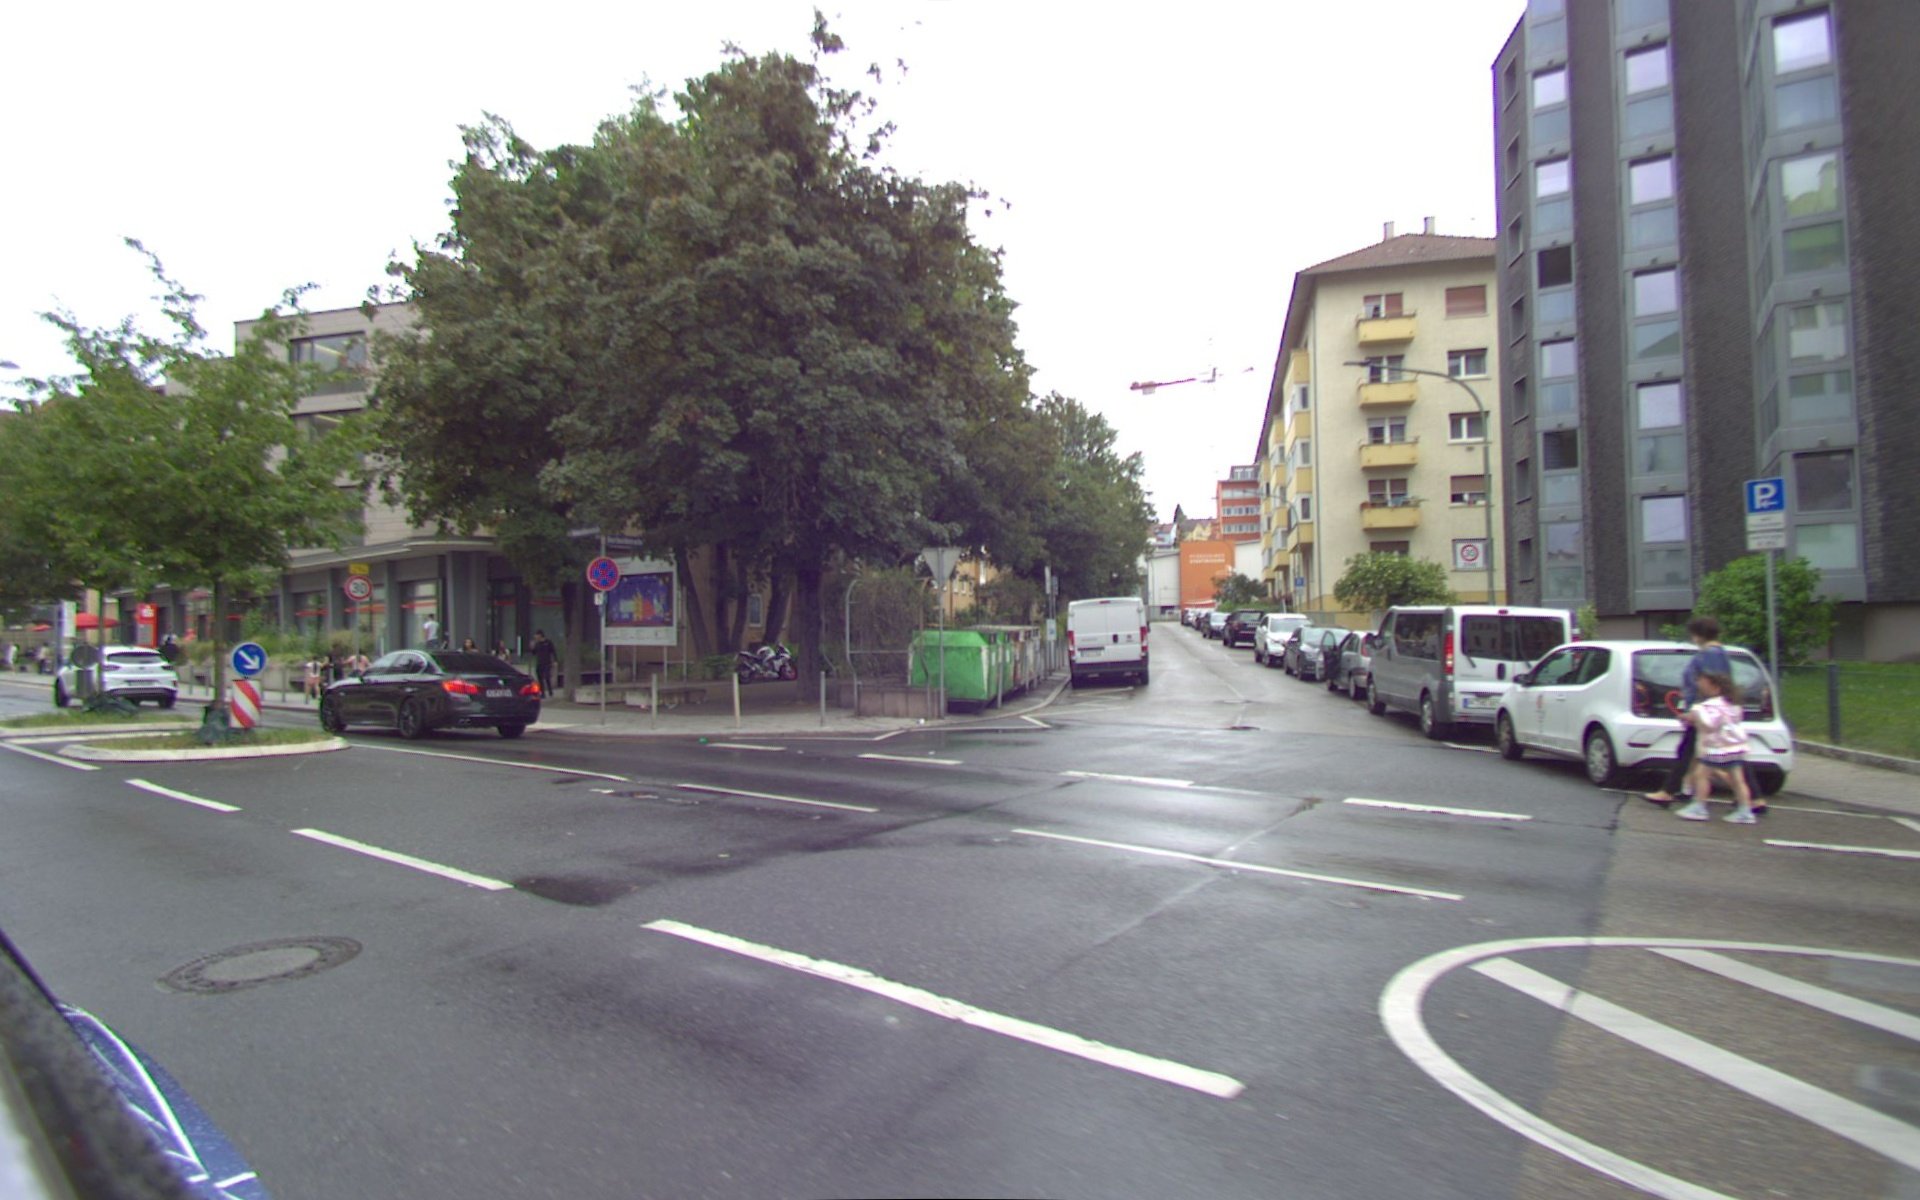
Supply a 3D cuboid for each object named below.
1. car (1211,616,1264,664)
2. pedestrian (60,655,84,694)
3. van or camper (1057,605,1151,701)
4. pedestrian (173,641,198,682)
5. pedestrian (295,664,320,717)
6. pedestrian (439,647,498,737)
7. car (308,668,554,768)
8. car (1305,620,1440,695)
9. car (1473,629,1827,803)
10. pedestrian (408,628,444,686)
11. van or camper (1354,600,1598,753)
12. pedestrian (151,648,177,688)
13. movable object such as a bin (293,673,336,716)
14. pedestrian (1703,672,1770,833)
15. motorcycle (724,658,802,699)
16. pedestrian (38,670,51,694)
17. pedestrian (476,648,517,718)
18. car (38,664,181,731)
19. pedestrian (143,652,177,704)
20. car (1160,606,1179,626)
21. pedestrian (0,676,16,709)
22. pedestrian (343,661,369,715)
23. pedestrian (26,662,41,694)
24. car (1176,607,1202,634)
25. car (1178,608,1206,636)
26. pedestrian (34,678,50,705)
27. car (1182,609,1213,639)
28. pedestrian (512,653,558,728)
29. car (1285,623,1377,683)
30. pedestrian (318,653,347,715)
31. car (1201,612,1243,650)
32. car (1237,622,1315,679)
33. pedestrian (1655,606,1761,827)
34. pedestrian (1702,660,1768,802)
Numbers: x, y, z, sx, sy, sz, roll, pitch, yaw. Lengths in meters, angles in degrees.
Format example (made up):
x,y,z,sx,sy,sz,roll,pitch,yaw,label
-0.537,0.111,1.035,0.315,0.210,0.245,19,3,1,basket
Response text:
x,y,z,sx,sy,sz,roll,pitch,yaw,label
12.555,1.836,45.972,1.979,2.029,3.985,-2,-3,11,car
-41.945,3.513,47.793,0.867,1.833,0.585,-3,-3,29,pedestrian
3.849,1.334,27.243,2.186,2.283,4.606,-3,-1,8,van or camper
-33.076,2.613,43.230,0.701,1.691,0.803,0,-3,-25,pedestrian
-17.880,2.476,27.718,0.480,1.421,0.429,-3,-3,34,pedestrian
-10.420,1.932,21.475,0.846,1.840,0.720,-3,-3,15,pedestrian
-9.009,1.891,17.124,4.493,1.437,1.995,-3,-4,38,car
8.802,1.224,21.910,1.979,1.454,3.714,-2,-3,12,car
7.251,1.132,11.133,1.720,1.581,3.580,-1,-2,8,car
-17.226,1.831,32.662,0.714,1.840,0.721,-3,-3,9,pedestrian
7.909,1.102,16.141,1.977,2.029,4.954,0,-2,9,van or camper
-34.282,2.942,43.605,0.712,1.691,0.707,-4,-3,37,pedestrian
-18.116,2.646,28.392,0.963,1.143,0.698,-3,-2,34,movable object such as a bin
6.105,1.178,7.972,0.310,1.207,0.406,-3,-3,31,pedestrian
-5.678,2.251,29.239,2.026,0.995,0.798,-3,-1,-38,motorcycle
-44.094,3.954,48.762,0.385,1.125,0.388,-3,-3,37,pedestrian
-11.838,2.112,25.875,0.714,1.772,0.654,-2,-3,14,pedestrian
-21.847,2.497,25.967,4.081,1.581,1.803,-4,-8,36,car
-29.465,2.861,37.266,0.716,1.840,0.719,-3,-3,18,pedestrian
23.022,1.749,111.393,1.979,2.029,3.985,-2,-3,11,car
-51.046,4.926,53.940,0.755,1.721,0.789,-3,-1,12,pedestrian
-17.054,2.469,28.555,0.529,1.484,0.456,-3,-3,34,pedestrian
-45.955,3.868,50.176,0.532,1.561,0.433,-3,-3,36,pedestrian
18.916,1.712,83.730,1.979,2.029,3.985,-2,-3,11,car
18.047,1.732,78.777,1.979,2.029,3.985,-2,-3,11,car
-44.482,4.417,49.036,0.548,1.287,0.463,-3,-3,37,pedestrian
17.119,1.748,73.149,1.979,2.029,3.985,-2,-3,11,car
-10.774,2.287,25.671,0.690,1.859,0.855,-3,-3,23,pedestrian
9.912,1.415,27.300,1.676,1.475,3.985,-2,-3,11,car
-17.343,2.318,27.971,0.551,1.686,0.493,-3,-3,34,pedestrian
14.756,1.788,57.149,1.979,2.029,3.985,-2,-3,11,car
10.308,1.652,33.271,1.979,1.741,3.985,-2,-3,11,car
6.298,0.957,8.552,0.579,1.776,0.570,-3,-3,31,pedestrian
6.889,1.147,9.012,0.357,1.207,0.406,-3,-3,31,pedestrian
